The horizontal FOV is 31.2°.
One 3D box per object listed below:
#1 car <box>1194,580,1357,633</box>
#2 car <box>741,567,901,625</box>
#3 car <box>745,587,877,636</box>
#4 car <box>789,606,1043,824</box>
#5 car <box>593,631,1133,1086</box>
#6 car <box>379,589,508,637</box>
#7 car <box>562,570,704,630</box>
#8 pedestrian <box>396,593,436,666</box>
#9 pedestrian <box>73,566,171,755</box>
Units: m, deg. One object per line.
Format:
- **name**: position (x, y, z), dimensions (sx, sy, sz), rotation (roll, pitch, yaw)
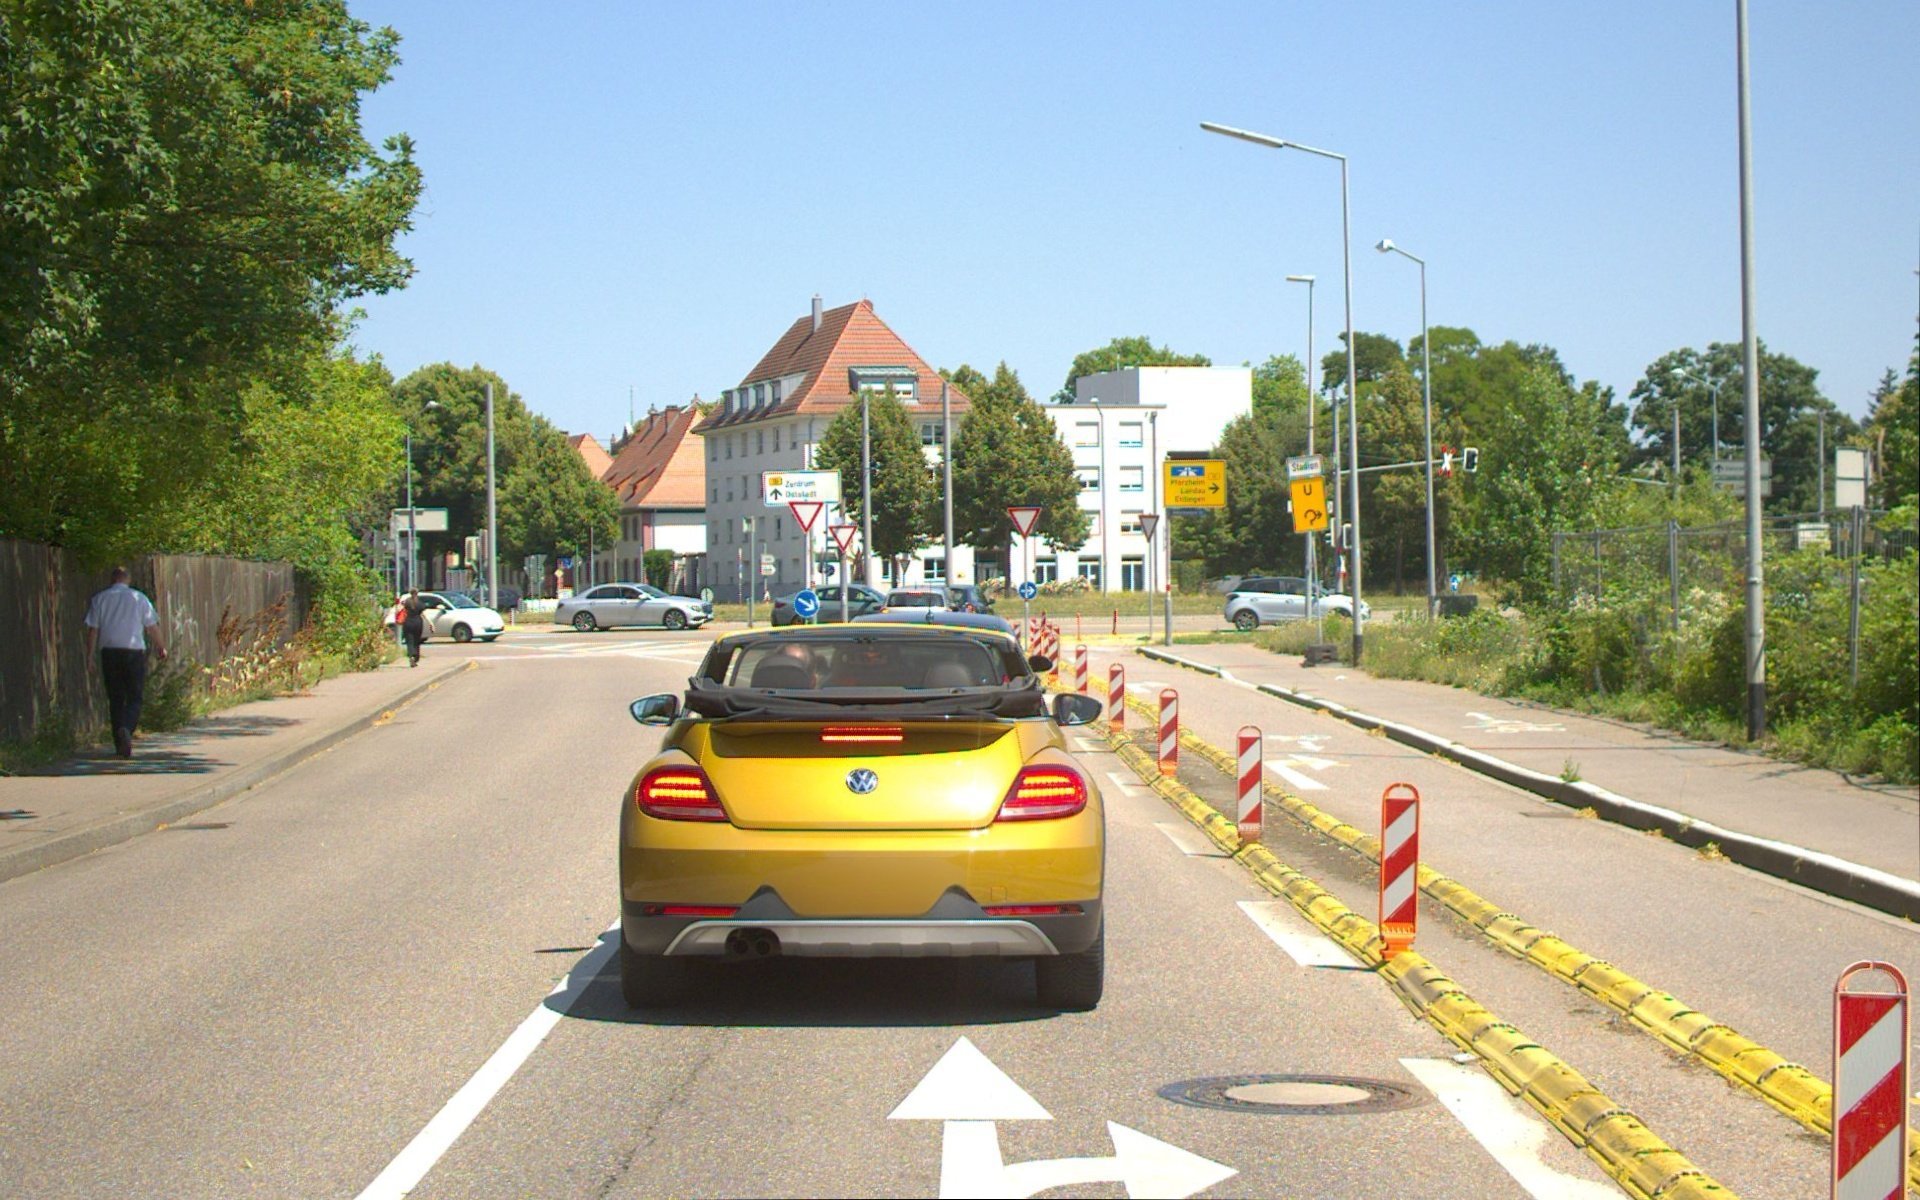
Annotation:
- **car**: position (8.707, 0.168, 94.841), dimensions (4.441, 1.353, 1.537), rotation (-1, 0, 6)
- **car**: position (-3.737, -0.107, 92.816), dimensions (3.988, 1.451, 1.904), rotation (-1, 0, 8)
- **car**: position (-4.141, 0.308, 95.619), dimensions (3.438, 1.271, 1.406), rotation (-1, 0, 8)
- **car**: position (-0.316, 0.795, 25.737), dimensions (1.726, 1.438, 4.000), rotation (-1, 0, 0)
- **car**: position (-0.397, 0.887, 13.502), dimensions (1.790, 1.432, 3.814), rotation (-1, 0, -2)
- **car**: position (-14.819, 0.372, 98.659), dimensions (3.438, 1.271, 1.202), rotation (-1, 0, 8)
- **car**: position (-10.022, 0.007, 105.444), dimensions (4.074, 1.738, 1.566), rotation (-1, 0, 8)
- **pedestrian**: position (-11.005, 0.595, 69.563), dimensions (0.722, 1.449, 0.818), rotation (-1, 0, -5)
- **pedestrian**: position (-7.759, 0.549, 31.850), dimensions (0.722, 1.719, 0.818), rotation (-1, 0, -5)
